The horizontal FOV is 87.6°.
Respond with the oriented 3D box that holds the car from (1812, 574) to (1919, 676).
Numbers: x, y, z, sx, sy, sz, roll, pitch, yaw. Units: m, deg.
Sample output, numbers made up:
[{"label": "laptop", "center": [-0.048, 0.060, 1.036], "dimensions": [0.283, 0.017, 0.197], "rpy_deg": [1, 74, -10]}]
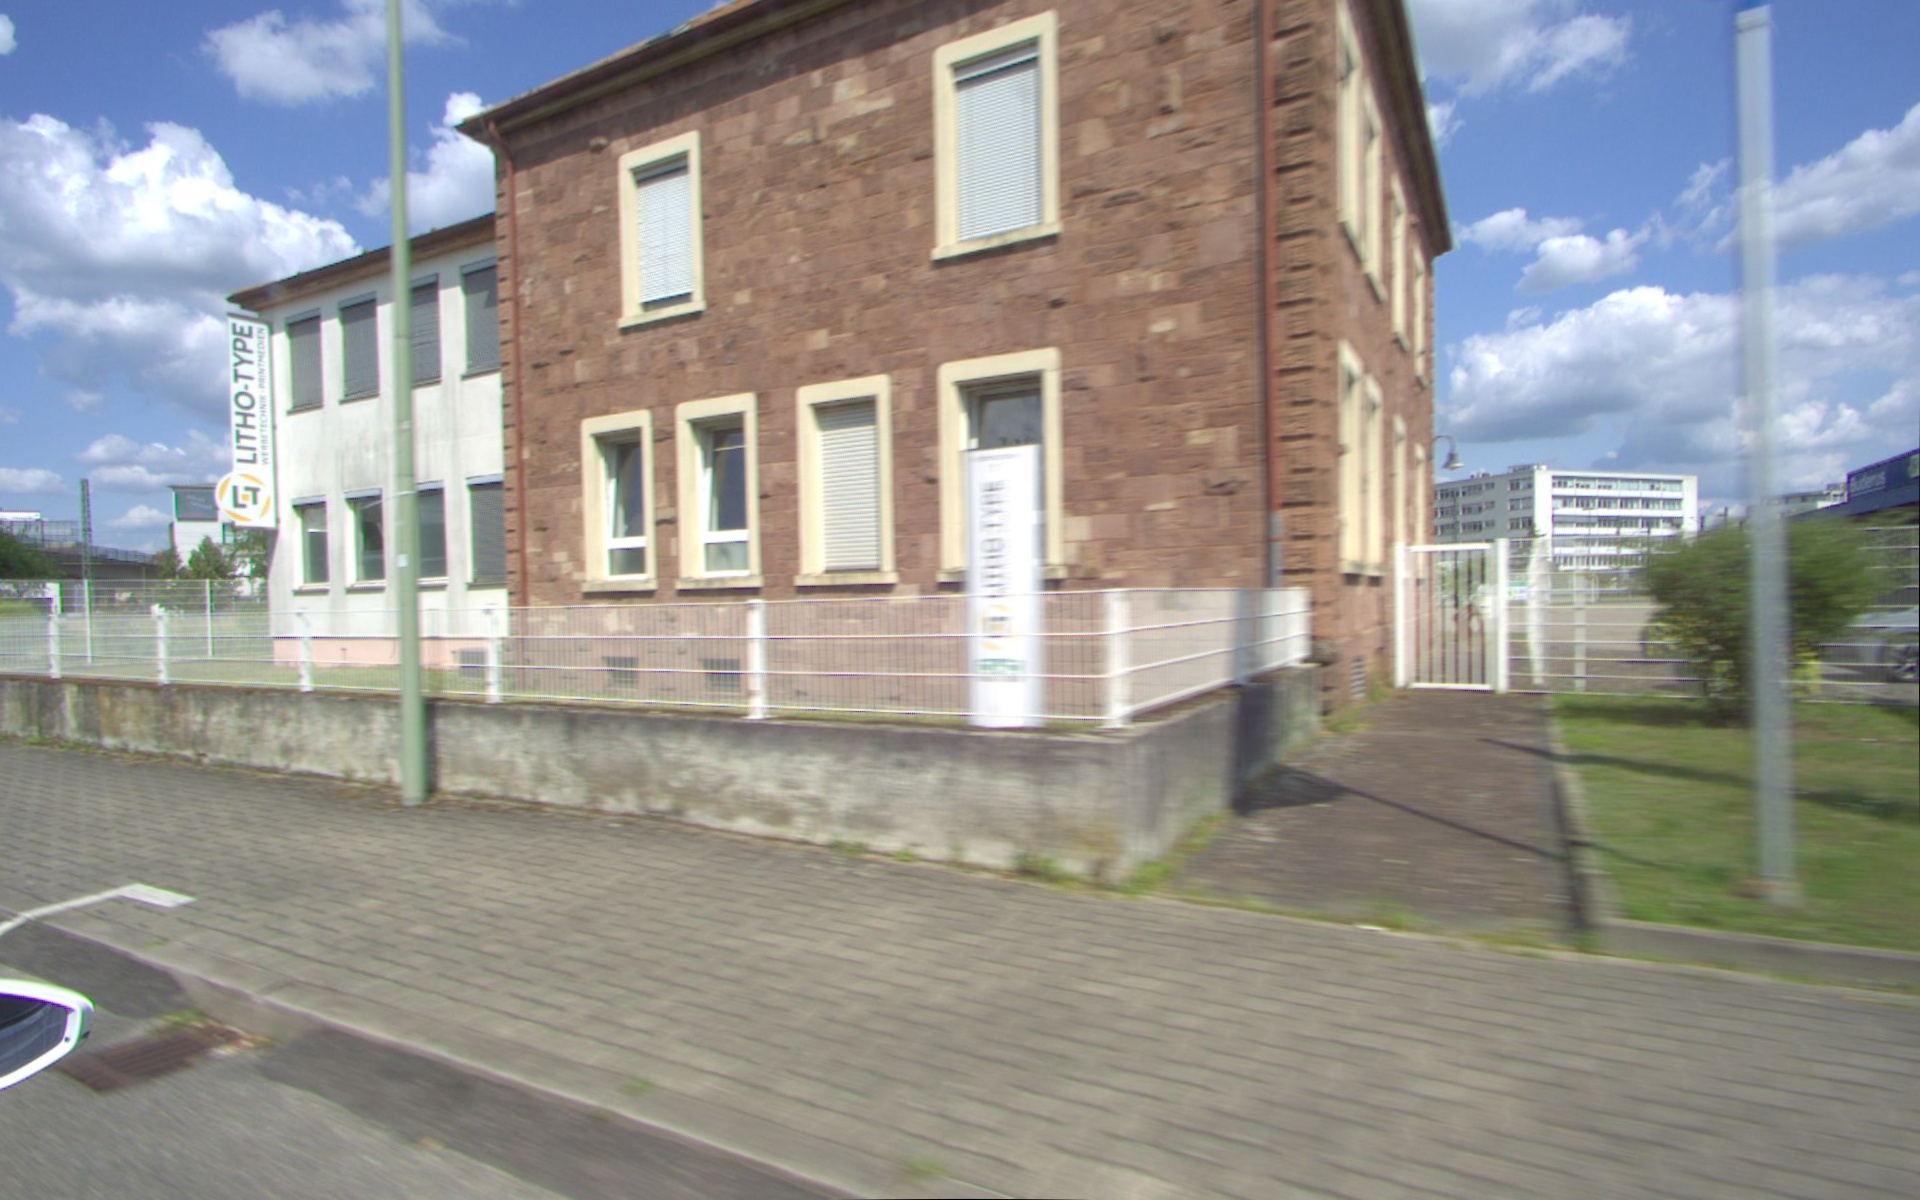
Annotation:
[{"label": "car", "center": [16.080, 0.339, 14.779], "dimensions": [5.018, 1.497, 1.990], "rpy_deg": [-1, 1, 30]}]
